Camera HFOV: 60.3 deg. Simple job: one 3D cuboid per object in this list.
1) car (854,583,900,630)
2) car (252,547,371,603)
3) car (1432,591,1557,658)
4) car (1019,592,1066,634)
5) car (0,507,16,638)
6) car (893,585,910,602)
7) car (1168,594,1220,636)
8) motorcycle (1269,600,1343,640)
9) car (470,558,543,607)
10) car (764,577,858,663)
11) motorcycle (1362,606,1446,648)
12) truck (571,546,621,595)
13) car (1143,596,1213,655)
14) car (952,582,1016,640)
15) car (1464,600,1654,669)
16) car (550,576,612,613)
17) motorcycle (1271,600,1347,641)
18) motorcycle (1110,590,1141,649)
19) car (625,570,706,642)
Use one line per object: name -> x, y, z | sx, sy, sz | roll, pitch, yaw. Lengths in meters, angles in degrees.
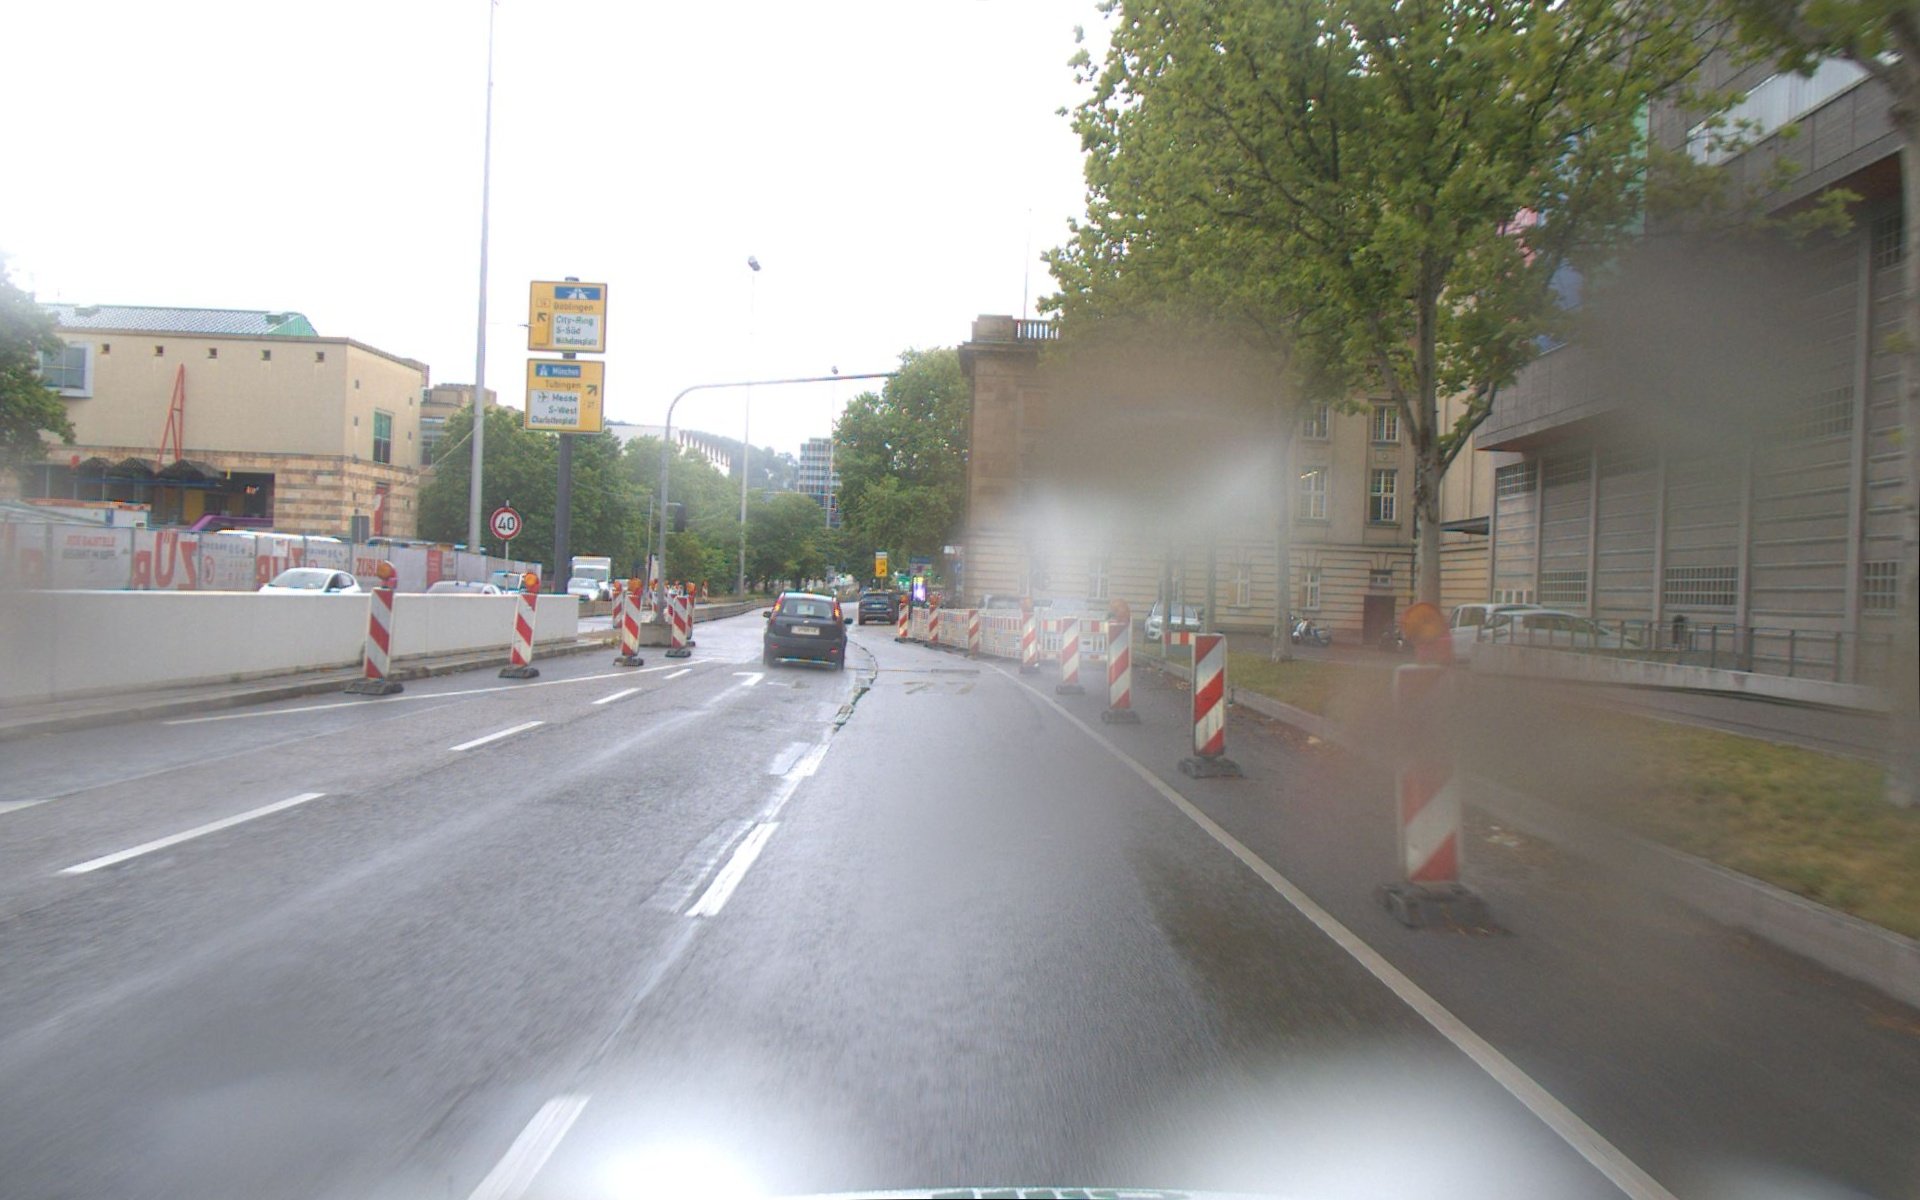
car -> -3.927, 0.275, 78.690 | 1.953, 2.048, 4.000 | 3, 1, -1
car -> -16.002, -0.596, 40.966 | 1.593, 1.216, 3.404 | 4, 0, -1
car -> 15.392, 0.720, 47.953 | 1.953, 1.790, 5.096 | 2, -1, 0
car -> 3.782, 0.577, 75.423 | 1.952, 1.738, 4.002 | 3, 1, 4
car -> -15.949, -0.491, 24.173 | 1.953, 2.048, 3.999 | 4, 0, -1
car -> -7.856, -0.892, 222.742 | 1.955, 2.049, 3.995 | 4, -1, -5
car -> 10.662, 0.699, 75.570 | 1.952, 1.738, 4.001 | 3, -1, 4
motorcycle -> 15.442, 0.895, 73.879 | 3.095, 1.570, 0.890 | 4, -2, 4
car -> -16.761, -0.615, 61.285 | 1.635, 1.548, 3.998 | 4, -1, -2
car -> -3.033, 0.374, 33.669 | 1.638, 1.451, 3.753 | 7, 0, -5
motorcycle -> 19.213, 1.160, 71.620 | 3.281, 1.558, 1.152 | 4, -2, 1
truck -> -20.467, -1.618, 93.174 | 2.370, 2.379, 5.431 | 4, -1, -10
car -> 7.192, 0.810, 54.836 | 1.952, 1.738, 4.002 | 3, 1, 4
car -> 0.772, 0.341, 55.361 | 1.953, 1.738, 4.000 | 3, 1, -1
car -> 14.428, 0.844, 39.990 | 3.905, 1.587, 1.933 | 1, -2, 0
car -> -17.449, -0.232, 76.255 | 1.954, 1.505, 3.998 | 4, -1, -2
motorcycle -> 15.380, 0.905, 72.851 | 3.096, 1.570, 0.890 | 4, -2, 2
motorcycle -> 5.480, 0.635, 54.955 | 0.813, 1.862, 3.144 | 2, 0, 3
car -> -6.146, 0.134, 34.725 | 1.358, 1.411, 3.064 | 1, 0, -5
